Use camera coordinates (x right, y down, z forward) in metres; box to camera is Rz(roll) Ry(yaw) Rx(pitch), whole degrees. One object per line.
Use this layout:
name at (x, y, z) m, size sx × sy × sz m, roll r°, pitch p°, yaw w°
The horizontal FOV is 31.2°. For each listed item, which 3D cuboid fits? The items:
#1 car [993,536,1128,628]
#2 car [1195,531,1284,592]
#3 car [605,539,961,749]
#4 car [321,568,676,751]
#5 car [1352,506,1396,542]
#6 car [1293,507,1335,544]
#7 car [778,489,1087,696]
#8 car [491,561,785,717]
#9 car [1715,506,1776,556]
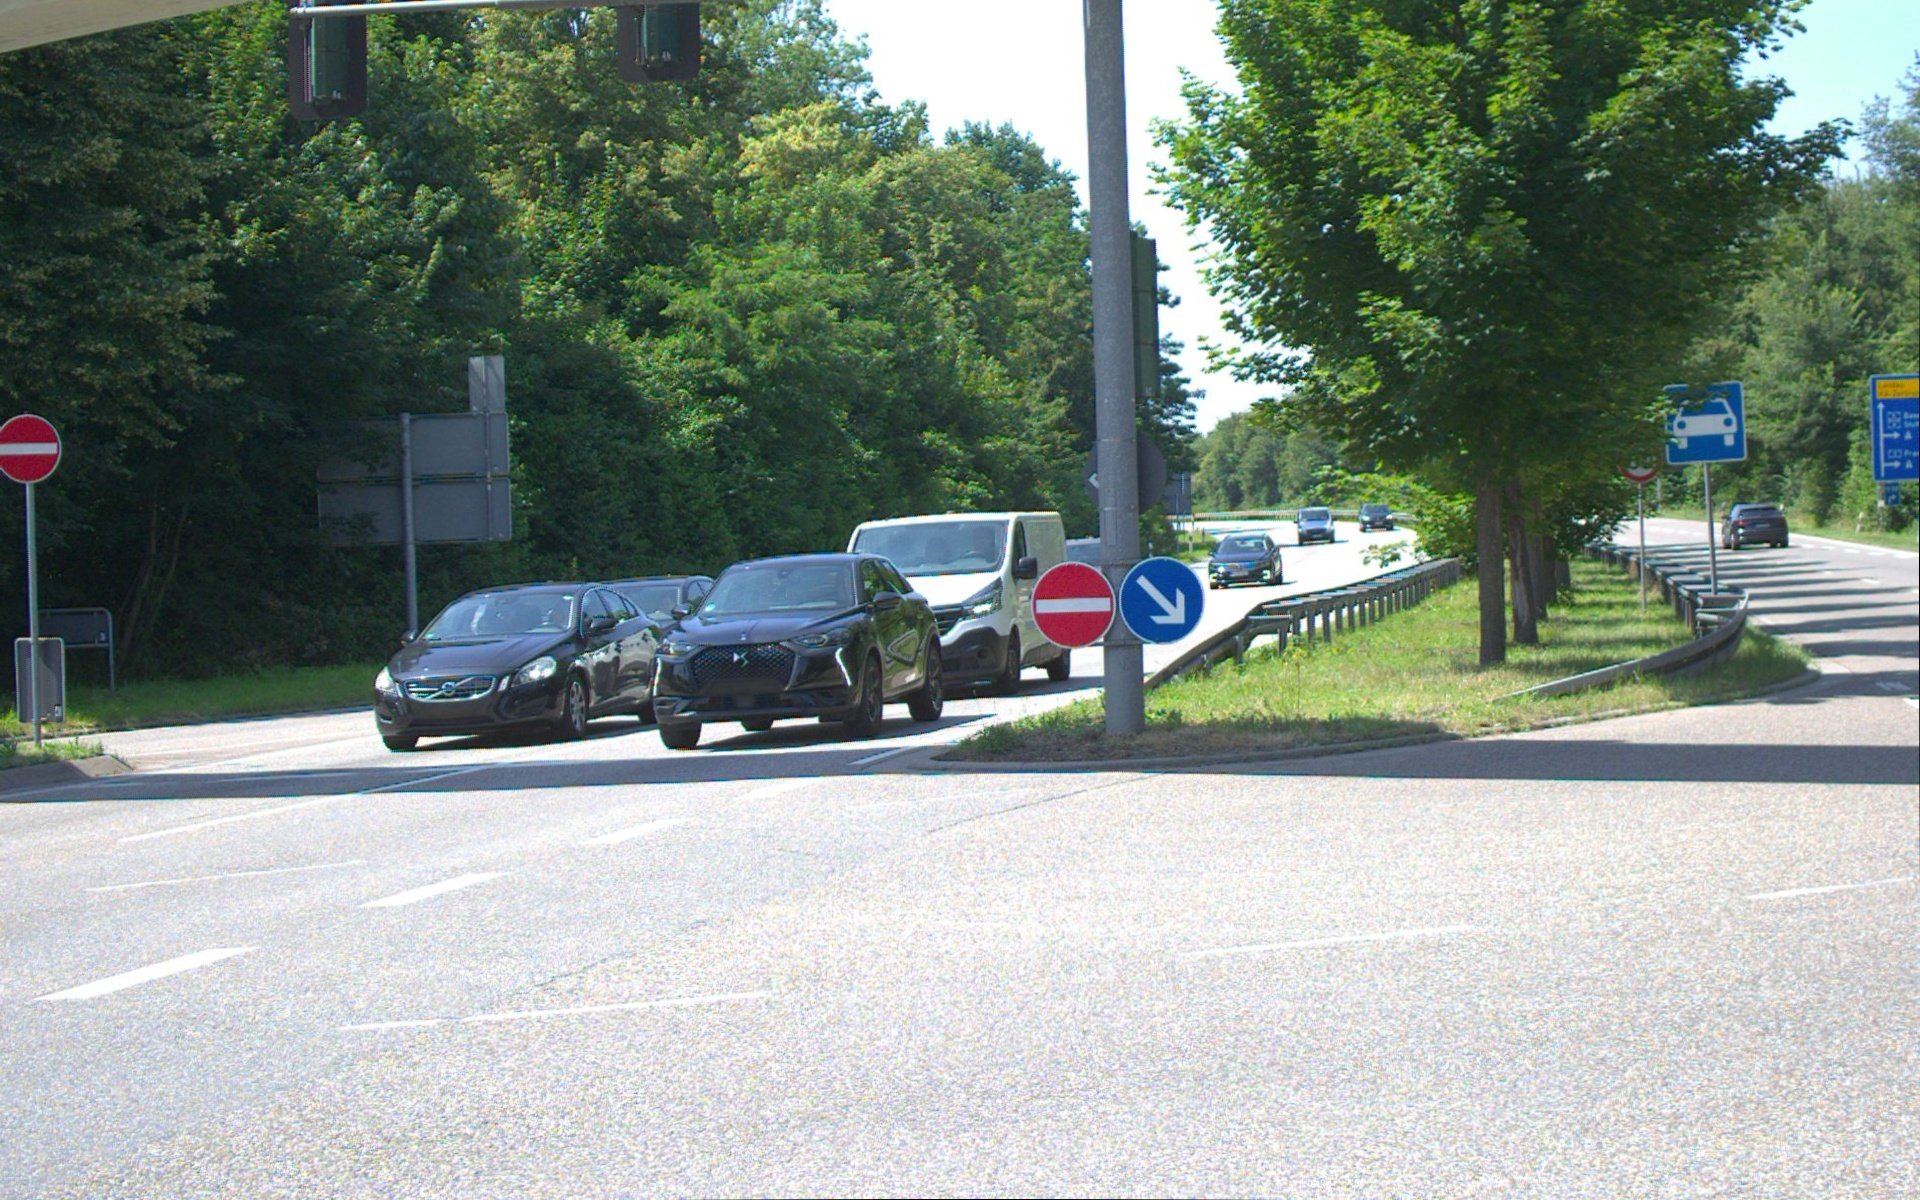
car at (1.961, -0.365, 65.733) m, size 1.862 × 1.610 × 4.053 m, roll -3°, pitch 1°, yaw 11°
car at (7.975, -1.117, 97.902) m, size 2.009 × 1.596 × 4.053 m, roll -3°, pitch 1°, yaw 11°
car at (-1.391, 0.317, 28.847) m, size 1.994 × 1.518 × 4.026 m, roll -3°, pitch 1°, yaw 11°
car at (-4.196, 0.506, 31.938) m, size 2.009 × 1.455 × 4.053 m, roll -3°, pitch 1°, yaw 11°
car at (23.849, -4.356, 197.989) m, size 1.993 × 2.007 × 4.000 m, roll 0°, pitch 1°, yaw -1°
car at (18.270, -3.861, 177.583) m, size 1.994 × 1.744 × 3.999 m, roll -4°, pitch 0°, yaw 5°
car at (-0.186, -0.129, 37.335) m, size 2.209 × 1.986 × 5.486 m, roll -3°, pitch 1°, yaw 11°
car at (-3.374, 0.379, 36.867) m, size 2.009 × 1.455 × 4.053 m, roll -3°, pitch 1°, yaw 11°
car at (28.497, -2.530, 124.649) m, size 2.043 × 1.693 × 5.083 m, roll -1°, pitch 2°, yaw 14°
